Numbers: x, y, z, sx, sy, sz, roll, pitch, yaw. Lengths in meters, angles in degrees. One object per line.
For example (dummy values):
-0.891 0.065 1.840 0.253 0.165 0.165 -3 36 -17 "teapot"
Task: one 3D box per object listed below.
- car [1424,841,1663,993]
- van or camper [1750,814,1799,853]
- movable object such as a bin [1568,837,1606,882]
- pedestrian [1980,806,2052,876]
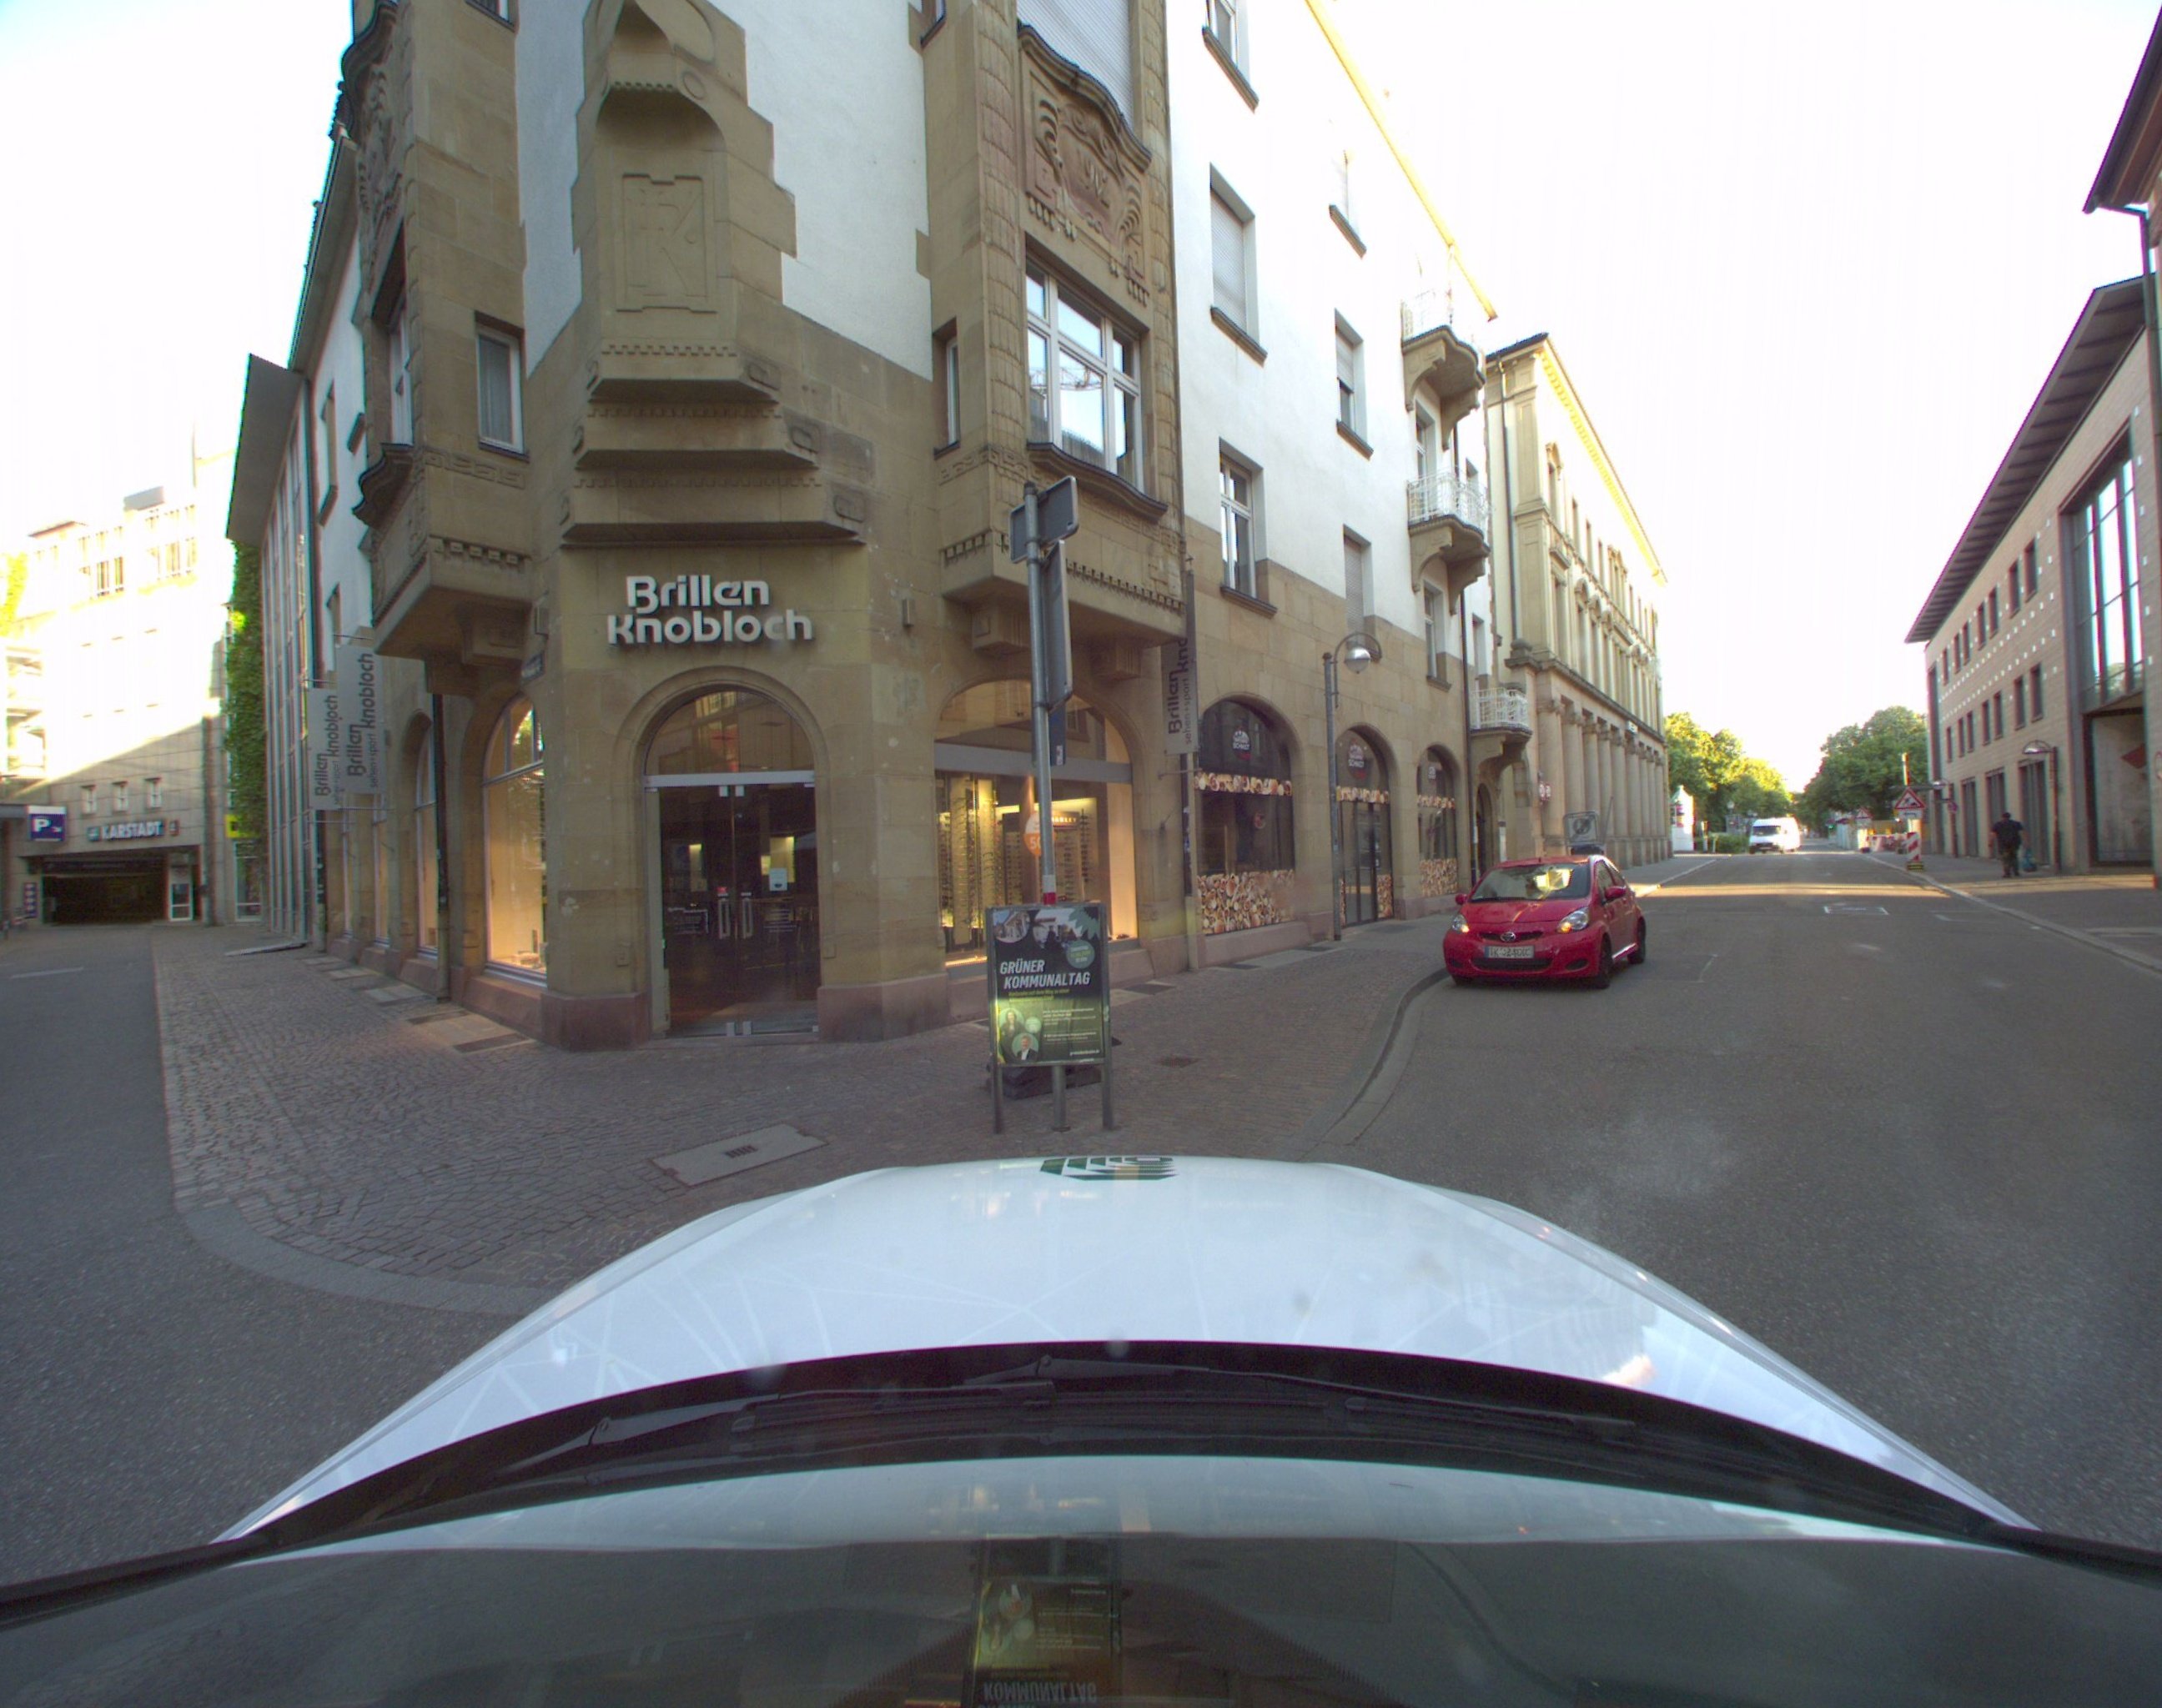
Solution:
5.890 0.668 10.153 1.642 1.470 3.956 -6 -3 42 "car"
49.443 -1.450 58.015 2.198 2.585 6.410 -2 0 44 "van or camper"
17.293 0.178 27.817 0.821 1.503 1.299 -2 0 42 "movable object such as a bin"
25.592 -0.347 22.315 0.991 1.803 0.887 -8 -5 41 "pedestrian"
